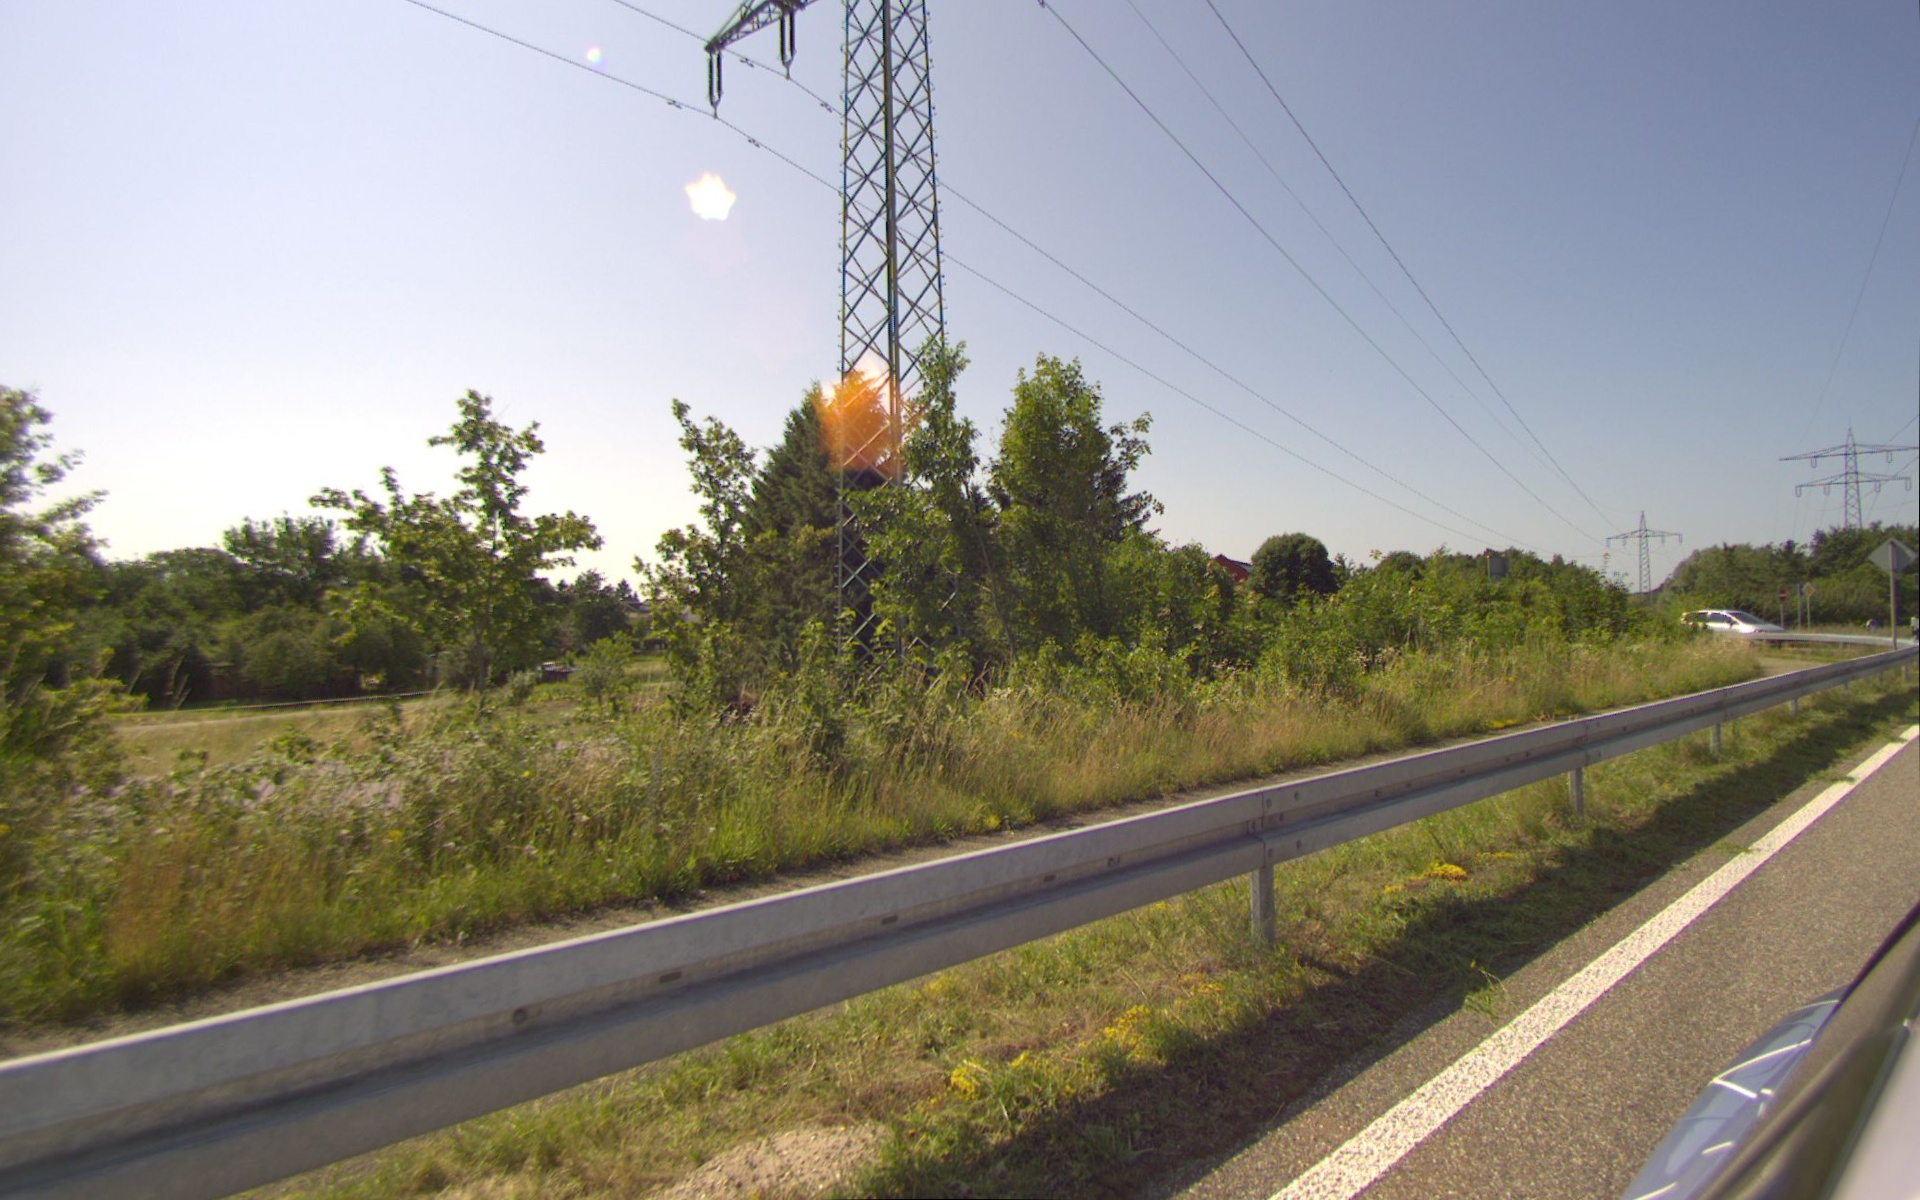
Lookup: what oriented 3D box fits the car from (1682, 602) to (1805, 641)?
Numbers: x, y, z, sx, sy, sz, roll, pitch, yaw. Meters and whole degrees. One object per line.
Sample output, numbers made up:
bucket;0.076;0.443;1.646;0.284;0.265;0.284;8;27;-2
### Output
car;31.512;0.827;40.797;1.517;1.487;3.668;0;0;-20
